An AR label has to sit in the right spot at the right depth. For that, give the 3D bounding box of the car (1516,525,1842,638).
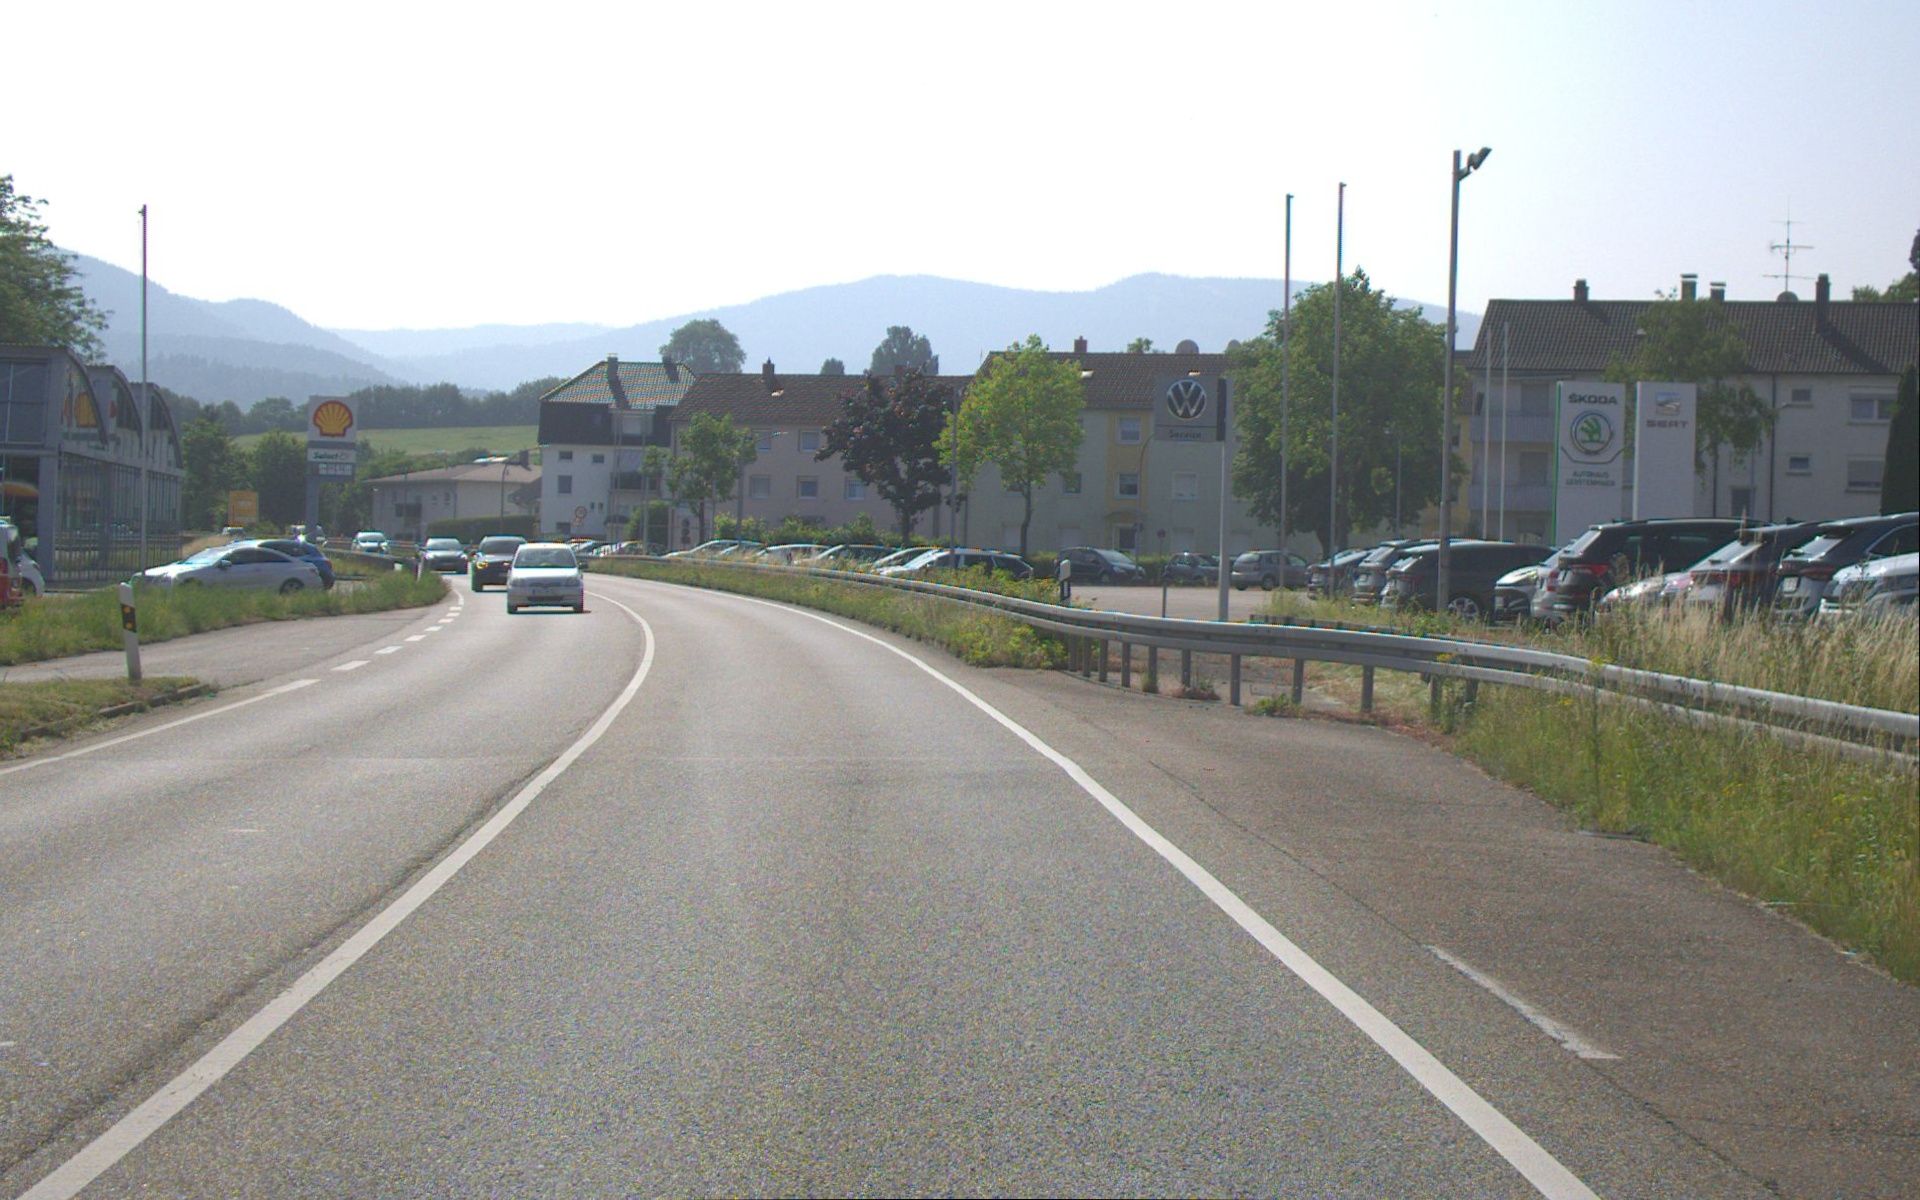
[{"bbox_3d":[9.561,-0.254,45.931,4.036,1.481,1.722,0,1,3],"label":"car"}]

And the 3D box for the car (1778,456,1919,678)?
[{"bbox_3d":[8.519,-0.234,26.331,3.986,1.626,1.921,1,1,-3],"label":"car"}]

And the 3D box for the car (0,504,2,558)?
[{"bbox_3d":[-17.896,-0.718,54.917,4.670,1.851,2.144,3,1,-7],"label":"car"}]

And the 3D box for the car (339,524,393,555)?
[{"bbox_3d":[-31.317,-3.191,181.299,1.792,1.624,4.228,-1,1,-24],"label":"car"}]

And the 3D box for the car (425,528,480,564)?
[{"bbox_3d":[-21.344,-2.271,144.485,1.751,1.469,4.288,-1,1,-15],"label":"car"}]

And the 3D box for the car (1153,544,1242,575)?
[{"bbox_3d":[9.439,-1.605,136.672,1.589,1.182,3.662,0,1,-34],"label":"car"}]

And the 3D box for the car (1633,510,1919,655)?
[{"bbox_3d":[9.586,-0.192,37.577,4.082,1.547,1.781,0,1,-1],"label":"car"}]

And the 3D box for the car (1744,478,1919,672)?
[{"bbox_3d":[9.042,-0.205,29.913,3.987,1.626,1.921,1,1,0],"label":"car"}]

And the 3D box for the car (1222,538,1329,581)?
[{"bbox_3d":[11.609,-1.482,126.372,3.754,1.516,1.657,0,1,-36],"label":"car"}]

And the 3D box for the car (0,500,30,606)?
[{"bbox_3d":[-20.408,-1.021,65.604,4.791,1.974,2.229,3,1,-7],"label":"car"}]

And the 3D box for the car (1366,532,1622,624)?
[{"bbox_3d":[9.069,-0.379,58.584,3.986,1.489,1.791,1,1,-4],"label":"car"}]

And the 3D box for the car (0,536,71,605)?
[{"bbox_3d":[-20.691,-0.651,70.798,1.896,1.398,4.220,2,0,43],"label":"car"}]

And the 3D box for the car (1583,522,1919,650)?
[{"bbox_3d":[9.237,-0.166,39.787,3.731,1.454,1.665,0,1,-1],"label":"car"}]

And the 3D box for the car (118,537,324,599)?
[{"bbox_3d":[-17.022,-0.751,79.325,1.852,1.362,4.383,2,2,43],"label":"car"}]

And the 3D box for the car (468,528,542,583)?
[{"bbox_3d":[-13.736,-1.363,103.925,1.811,1.624,4.542,0,1,-2],"label":"car"}]

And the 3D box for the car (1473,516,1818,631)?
[{"bbox_3d":[9.661,-0.374,48.628,4.446,1.595,1.855,0,1,-5],"label":"car"}]

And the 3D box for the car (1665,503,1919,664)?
[{"bbox_3d":[8.744,-0.149,32.367,3.838,1.453,1.746,1,1,0],"label":"car"}]

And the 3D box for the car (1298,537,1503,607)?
[{"bbox_3d":[9.734,-0.624,76.158,4.155,1.511,1.825,0,1,-10],"label":"car"}]

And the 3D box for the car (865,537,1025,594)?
[{"bbox_3d":[-0.434,-0.951,94.073,4.158,1.485,1.732,-1,1,-8],"label":"car"}]

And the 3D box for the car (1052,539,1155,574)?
[{"bbox_3d":[5.899,-1.784,141.629,1.908,1.400,4.524,0,1,-34],"label":"car"}]

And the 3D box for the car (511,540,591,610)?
[{"bbox_3d":[-8.960,-0.564,75.506,1.677,1.468,3.708,0,1,-6],"label":"car"}]

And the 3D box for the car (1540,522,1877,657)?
[{"bbox_3d":[9.358,-0.144,43.194,3.879,1.658,1.840,0,1,3],"label":"car"}]

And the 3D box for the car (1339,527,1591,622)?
[{"bbox_3d":[8.942,-0.453,61.023,4.075,1.604,1.793,1,1,-7],"label":"car"}]

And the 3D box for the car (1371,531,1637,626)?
[{"bbox_3d":[8.801,-0.352,55.812,3.986,1.489,1.730,1,1,-2],"label":"car"}]

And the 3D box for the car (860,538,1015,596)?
[{"bbox_3d":[-0.656,-0.938,96.929,4.158,1.551,1.772,-1,1,-8],"label":"car"}]
